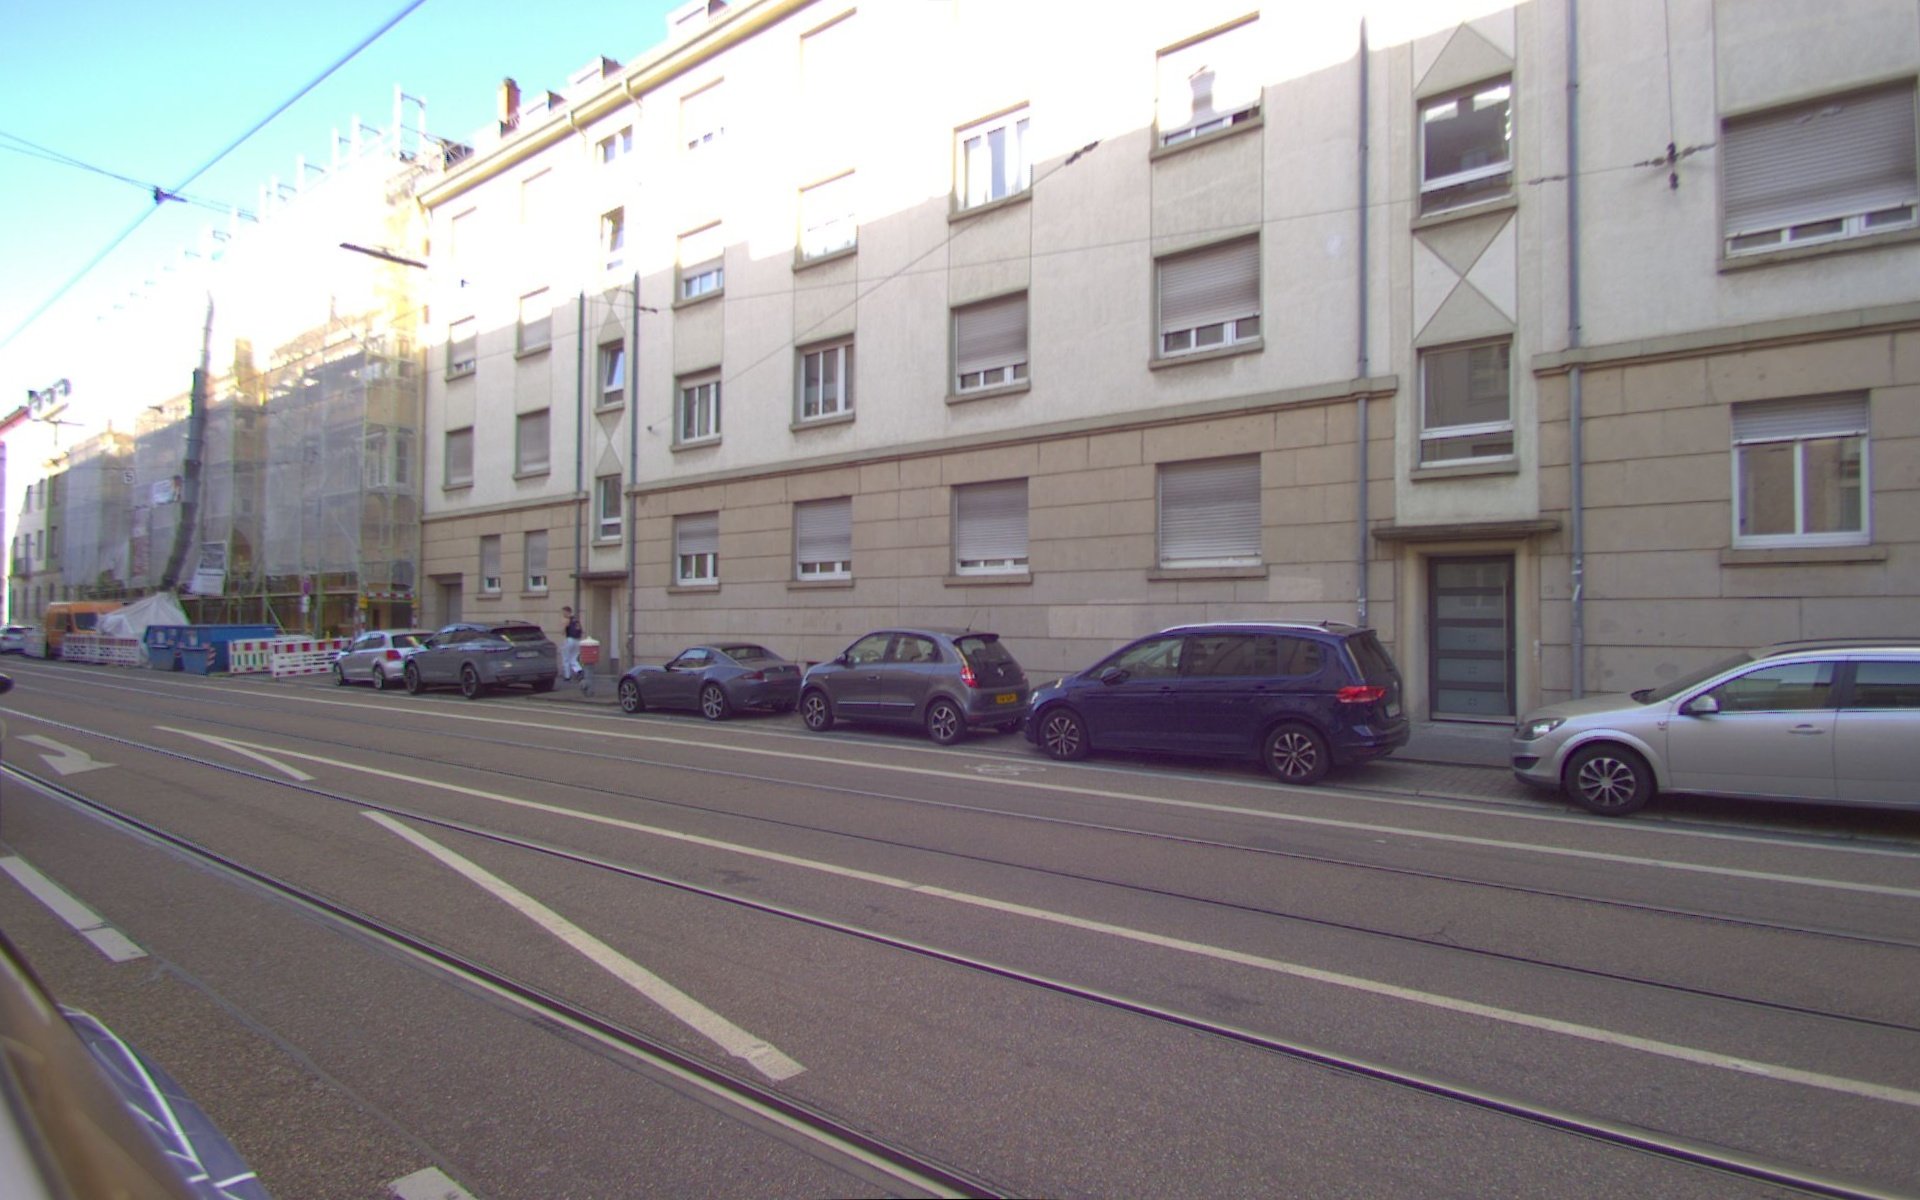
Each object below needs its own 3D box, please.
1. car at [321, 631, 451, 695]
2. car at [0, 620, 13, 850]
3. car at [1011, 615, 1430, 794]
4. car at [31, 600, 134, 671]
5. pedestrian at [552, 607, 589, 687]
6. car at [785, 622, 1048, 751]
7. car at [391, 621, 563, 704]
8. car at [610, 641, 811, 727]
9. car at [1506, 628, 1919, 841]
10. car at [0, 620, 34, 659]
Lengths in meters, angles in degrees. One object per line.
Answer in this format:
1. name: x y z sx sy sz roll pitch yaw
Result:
1. car: -14.440 1.528 25.416 3.502 1.390 1.546 -1 1 37
2. car: -7.974 0.886 6.944 3.814 1.436 1.705 -2 -3 40
3. car: 2.877 1.028 11.635 4.318 1.645 1.798 -1 1 37
4. car: -36.458 1.402 41.992 5.866 2.717 2.188 -1 0 39
5. pedestrian: -9.423 1.117 24.489 0.762 1.886 0.513 -1 0 38
6. car: -0.690 1.135 14.629 3.591 1.570 1.624 -1 1 38
7. car: -10.848 1.314 22.638 4.152 1.621 1.731 -1 1 37
8. car: -4.341 1.379 17.445 3.518 1.229 1.458 -1 1 37
9. car: 7.120 1.018 8.398 4.363 1.465 1.709 -1 1 37
10. car: -49.998 2.065 53.320 1.635 1.937 3.767 -1 0 -44
